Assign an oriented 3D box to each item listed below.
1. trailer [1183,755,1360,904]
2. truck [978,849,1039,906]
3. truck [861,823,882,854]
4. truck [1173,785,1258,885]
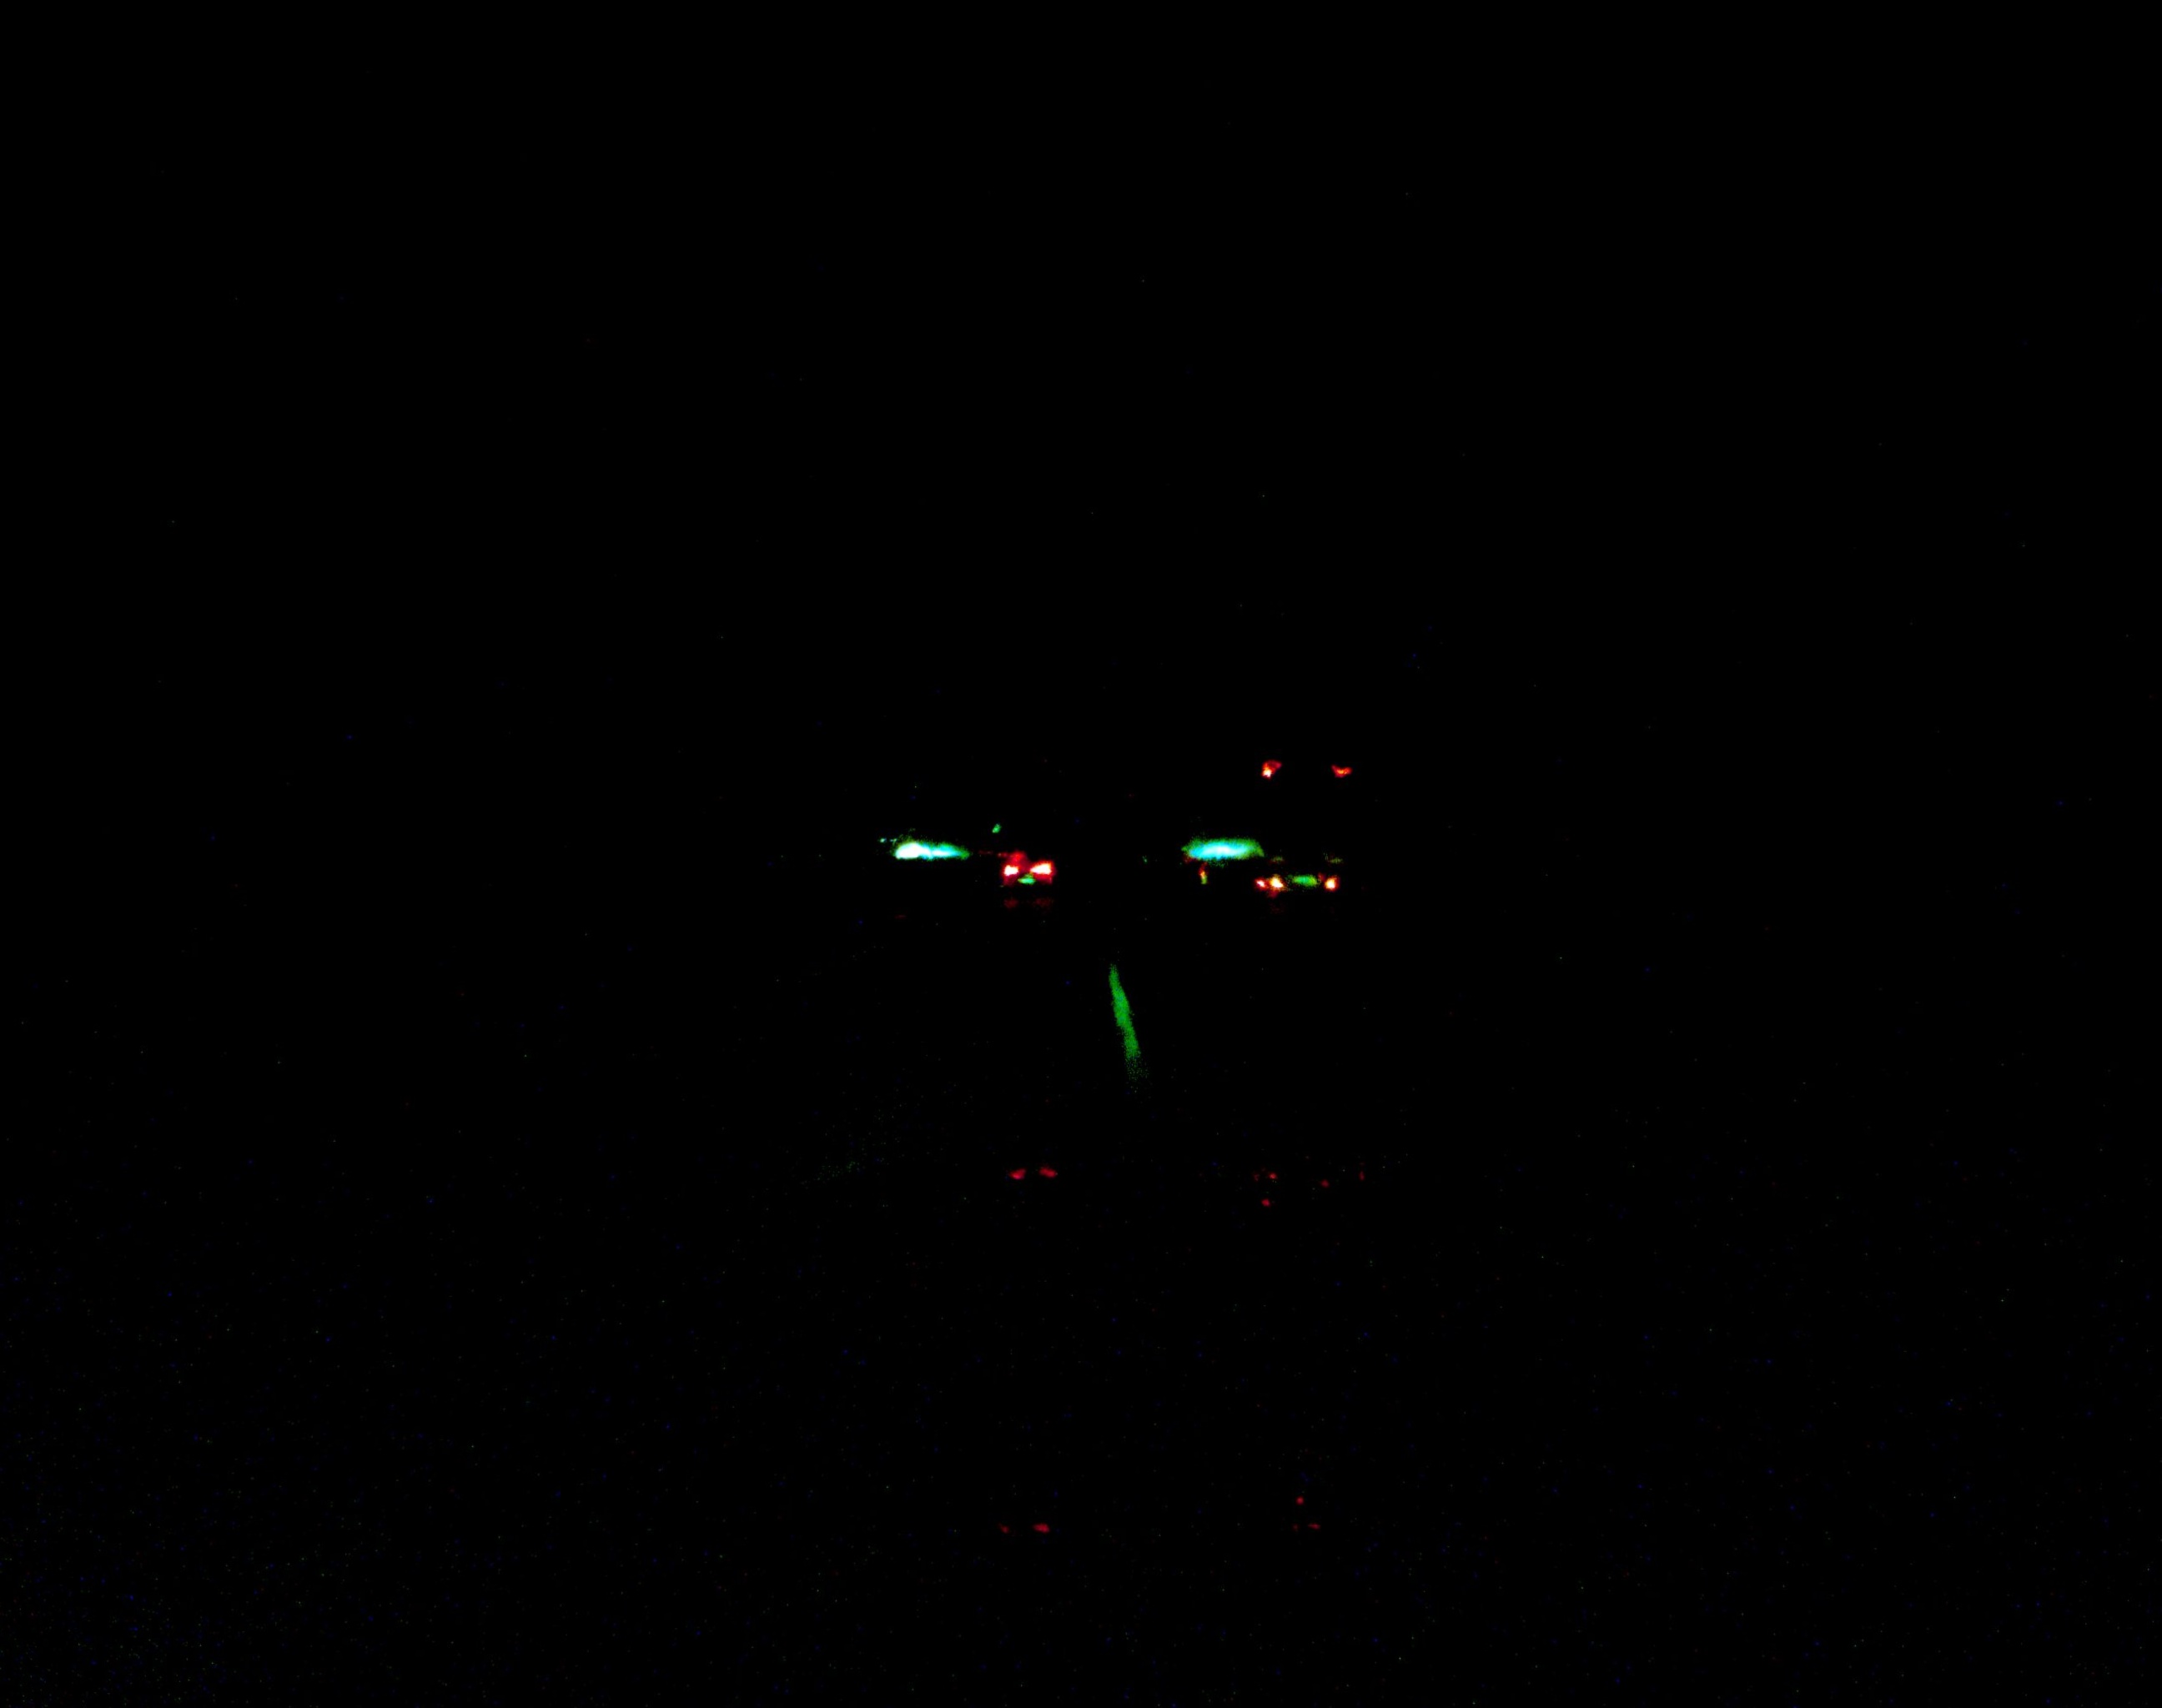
[{"bbox_3d":[6.418,-0.718,30.495,2.733,4.248,13.356,-2,0,-3],"label":"trailer"},{"bbox_3d":[-2.969,0.886,34.619,2.140,2.077,6.598,3,0,-2],"label":"truck"},{"bbox_3d":[-35.763,-2.670,139.464,2.752,5.097,5.863,3,1,-10],"label":"truck"},{"bbox_3d":[6.020,-0.819,37.280,2.705,4.241,5.285,0,0,-4],"label":"truck"}]
